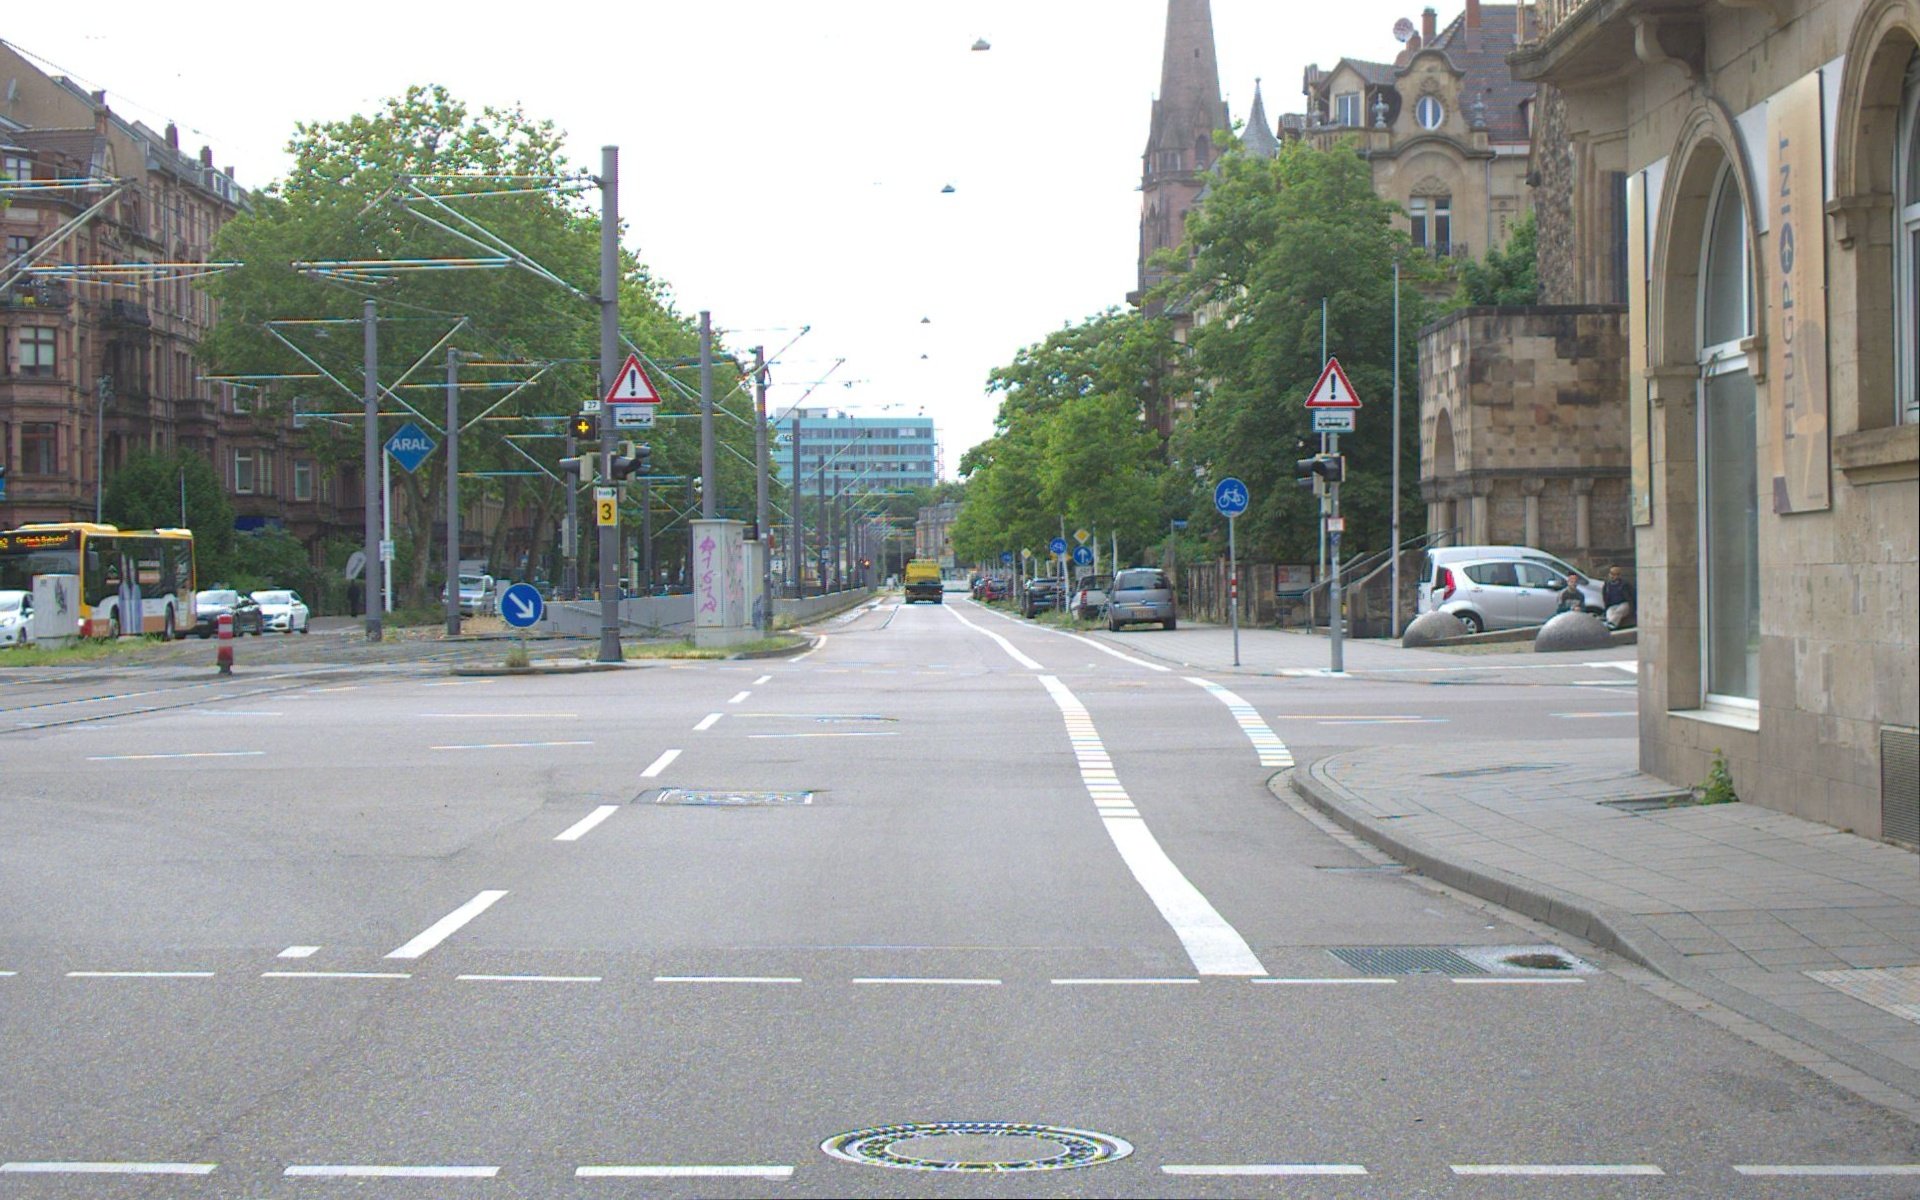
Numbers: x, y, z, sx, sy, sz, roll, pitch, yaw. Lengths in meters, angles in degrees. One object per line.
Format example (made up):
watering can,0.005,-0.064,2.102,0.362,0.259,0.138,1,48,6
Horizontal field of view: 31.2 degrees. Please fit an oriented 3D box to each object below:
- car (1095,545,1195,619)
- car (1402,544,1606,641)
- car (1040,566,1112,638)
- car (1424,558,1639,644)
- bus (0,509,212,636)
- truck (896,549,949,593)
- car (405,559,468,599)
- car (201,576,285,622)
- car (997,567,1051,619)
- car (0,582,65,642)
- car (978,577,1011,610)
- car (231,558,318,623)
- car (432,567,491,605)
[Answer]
car,4.864,-0.476,89.999,1.994,1.849,4.024,1,1,12
car,10.790,-0.165,68.420,3.713,1.849,2.000,1,0,0
car,3.335,0.030,99.489,1.993,2.007,4.000,1,1,1
car,10.762,0.012,64.927,3.713,1.558,2.000,1,0,0
bus,-22.482,-0.726,89.107,3.231,3.025,12.311,1,1,1
truck,-2.389,-1.900,222.265,3.055,2.759,9.815,0,1,2
car,-21.546,-0.876,141.533,1.993,1.605,4.000,1,1,-1
car,-21.283,-0.045,102.191,1.656,1.316,3.638,1,1,1
car,2.530,-0.281,136.004,1.993,2.007,4.000,1,1,-1
car,-21.914,0.264,79.058,1.656,1.316,3.638,1,1,1
car,2.180,-0.410,216.852,1.993,2.007,4.000,1,1,-1
car,-21.844,-0.317,109.615,1.993,2.007,4.000,1,1,-1
car,-21.637,-0.637,149.350,1.993,1.605,4.000,1,1,-1
